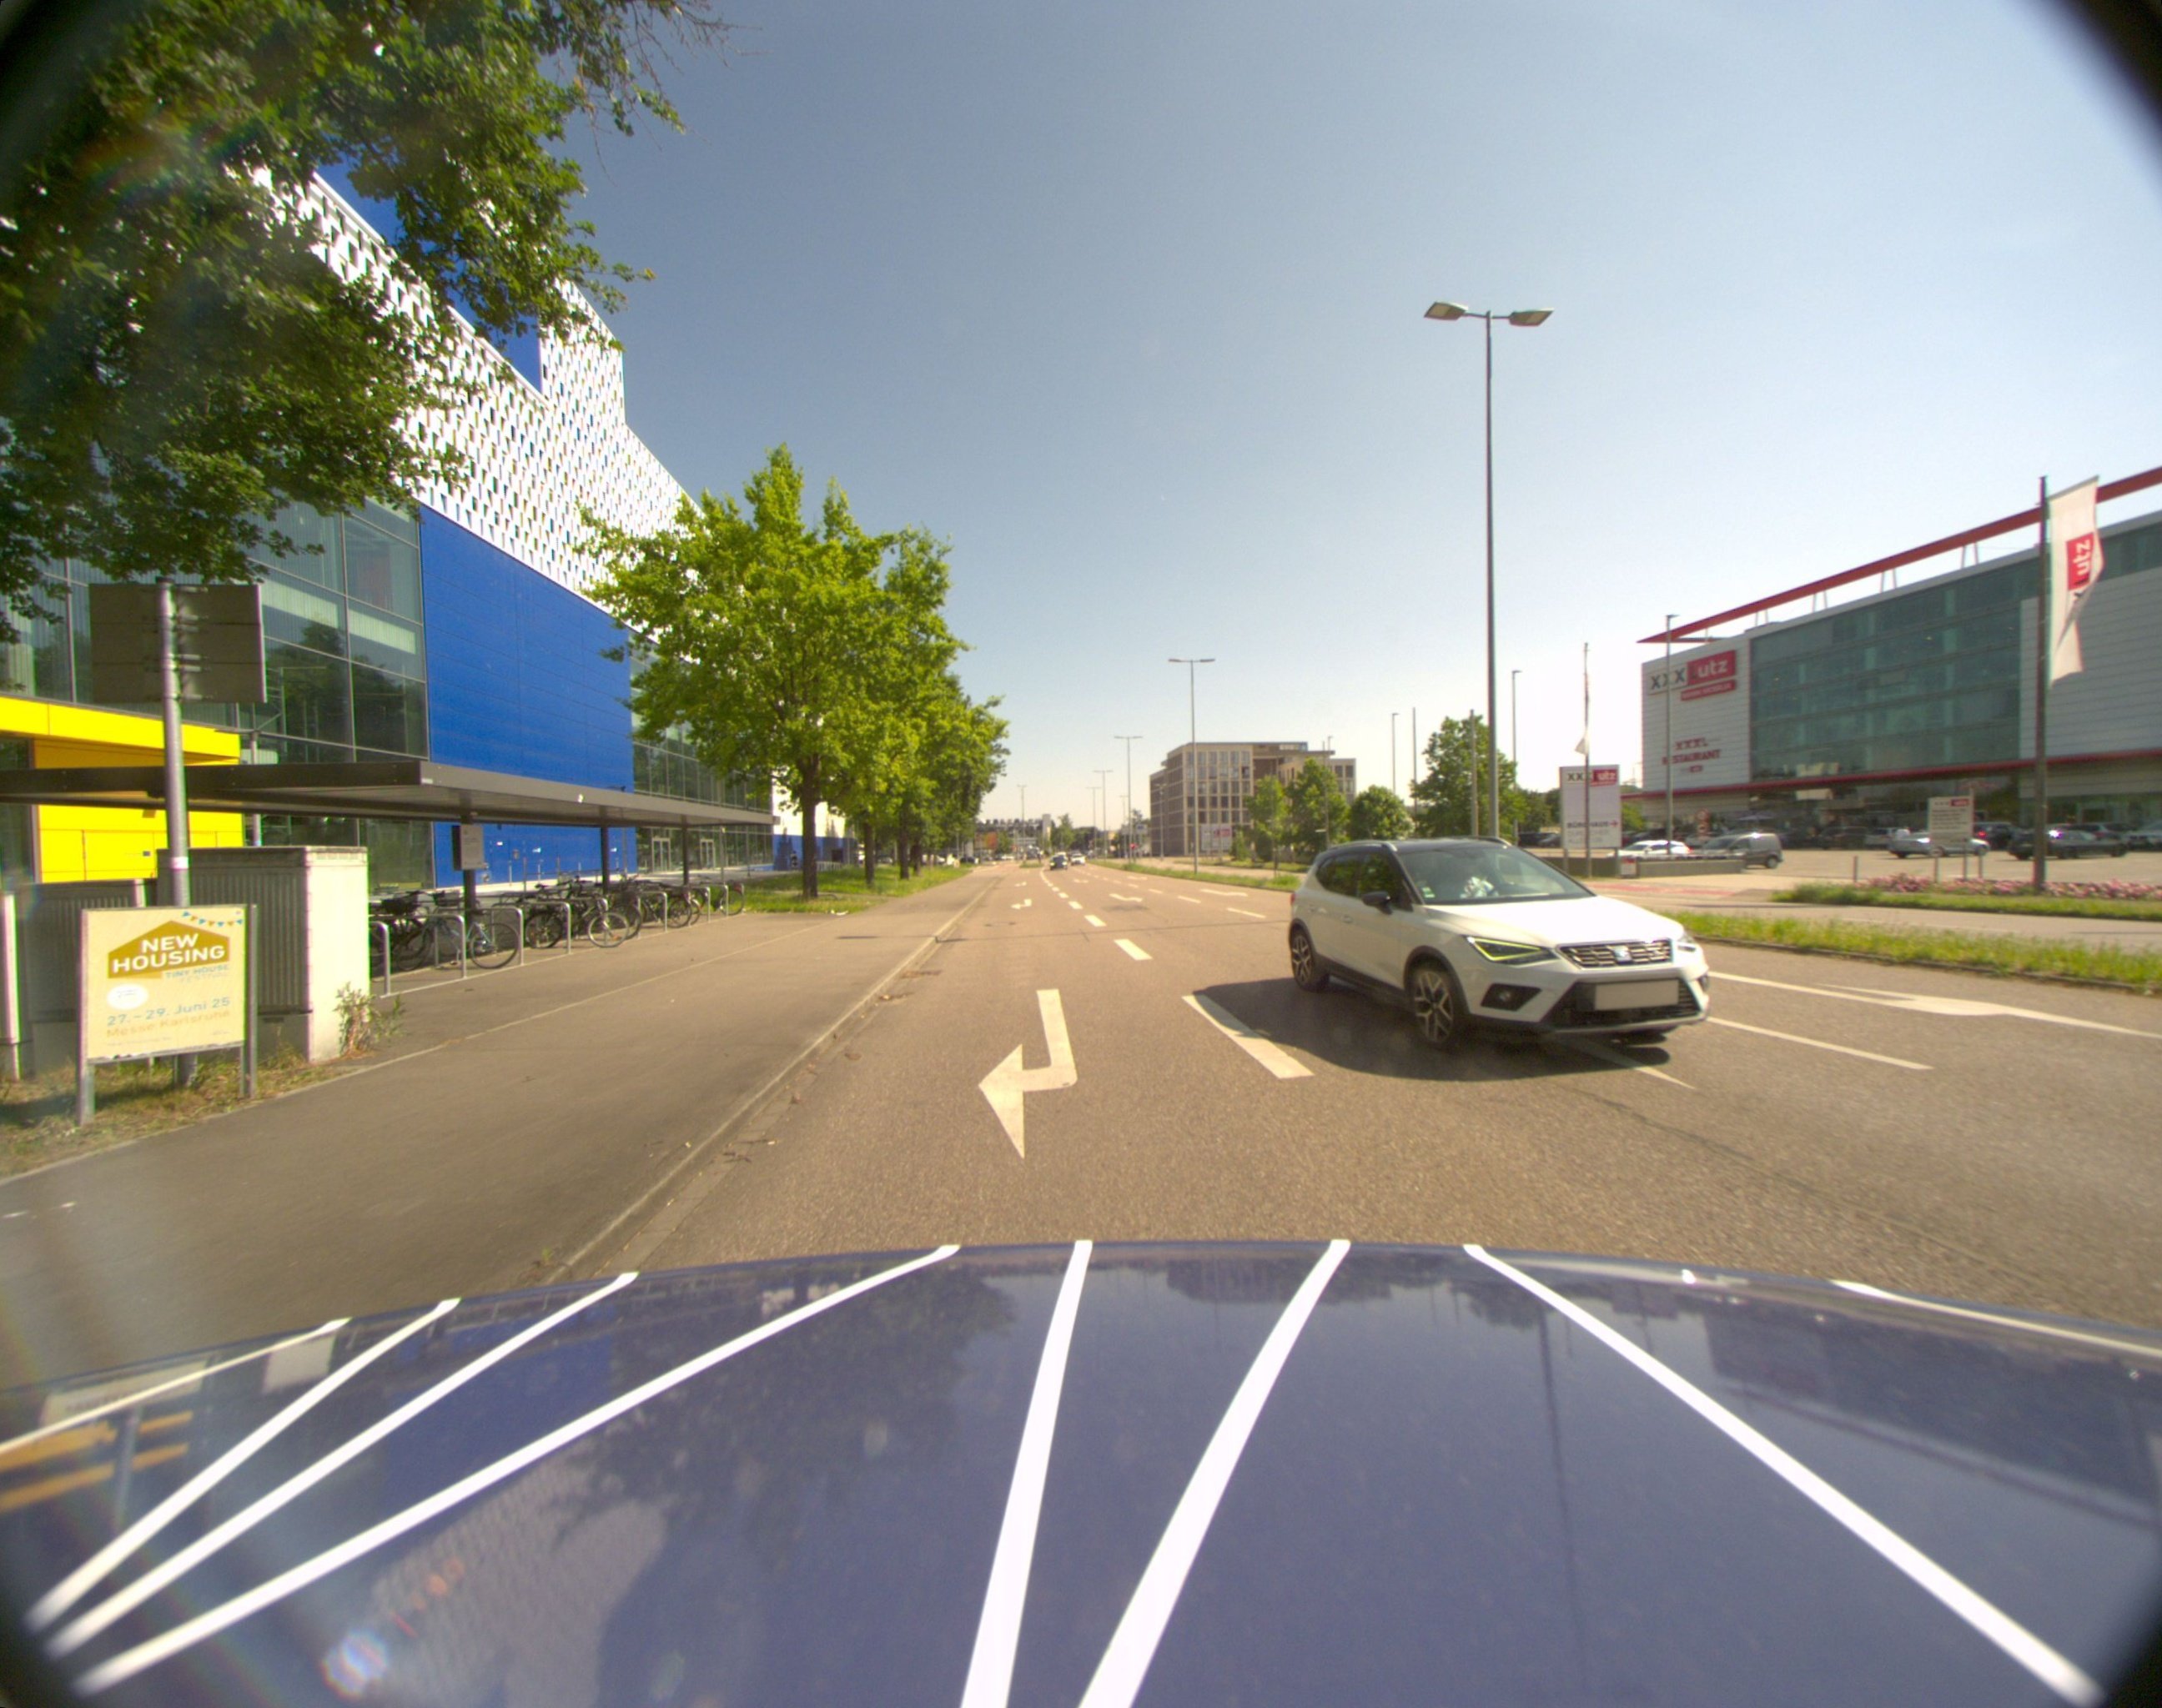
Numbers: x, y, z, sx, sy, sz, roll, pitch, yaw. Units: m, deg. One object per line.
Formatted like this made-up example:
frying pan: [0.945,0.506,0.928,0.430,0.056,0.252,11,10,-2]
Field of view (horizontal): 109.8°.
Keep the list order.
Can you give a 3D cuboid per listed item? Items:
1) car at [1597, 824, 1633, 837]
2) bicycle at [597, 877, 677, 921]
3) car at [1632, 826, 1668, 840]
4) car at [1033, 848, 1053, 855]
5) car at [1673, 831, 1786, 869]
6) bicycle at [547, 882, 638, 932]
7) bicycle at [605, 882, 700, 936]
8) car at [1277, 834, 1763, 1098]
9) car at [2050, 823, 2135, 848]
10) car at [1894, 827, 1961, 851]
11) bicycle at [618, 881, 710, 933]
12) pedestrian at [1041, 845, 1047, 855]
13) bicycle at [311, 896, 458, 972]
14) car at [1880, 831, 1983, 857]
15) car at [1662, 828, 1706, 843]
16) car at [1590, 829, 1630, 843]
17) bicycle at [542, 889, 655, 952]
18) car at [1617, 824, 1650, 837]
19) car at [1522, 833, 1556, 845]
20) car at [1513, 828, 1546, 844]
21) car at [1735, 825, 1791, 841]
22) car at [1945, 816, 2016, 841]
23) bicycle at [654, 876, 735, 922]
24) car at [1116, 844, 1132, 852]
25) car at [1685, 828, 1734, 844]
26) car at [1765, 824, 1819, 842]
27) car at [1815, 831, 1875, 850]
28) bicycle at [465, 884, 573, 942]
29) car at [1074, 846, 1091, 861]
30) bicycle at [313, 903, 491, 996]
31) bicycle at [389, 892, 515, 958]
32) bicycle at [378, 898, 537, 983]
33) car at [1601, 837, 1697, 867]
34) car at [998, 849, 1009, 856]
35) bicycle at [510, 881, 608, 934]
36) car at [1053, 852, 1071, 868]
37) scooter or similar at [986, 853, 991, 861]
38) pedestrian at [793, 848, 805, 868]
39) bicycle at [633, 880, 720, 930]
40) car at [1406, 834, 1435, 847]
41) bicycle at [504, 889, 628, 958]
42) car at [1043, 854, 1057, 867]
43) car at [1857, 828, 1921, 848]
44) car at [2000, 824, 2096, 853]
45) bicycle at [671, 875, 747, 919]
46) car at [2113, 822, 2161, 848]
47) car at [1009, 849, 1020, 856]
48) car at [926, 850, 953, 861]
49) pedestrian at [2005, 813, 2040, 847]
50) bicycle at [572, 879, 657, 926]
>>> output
car: [61.010,-2.704,86.800,3.096,1.377,1.514,-2,2,-5]
bicycle: [-11.730,1.186,20.100,1.763,1.090,0.452,-1,1,-4]
car: [60.741,-2.256,81.120,3.096,1.322,1.218,-2,2,-5]
car: [-8.685,-0.539,173.726,4.480,1.578,1.979,-2,1,-3]
car: [33.872,-0.209,39.749,4.425,1.832,1.944,-2,2,-5]
bicycle: [-11.508,1.248,17.924,1.763,1.090,0.452,-1,1,-4]
bicycle: [-9.336,1.196,16.593,1.763,1.090,0.452,-1,1,-4]
car: [3.150,0.716,6.492,1.635,1.489,3.869,-3,-1,-5]
car: [58.247,-1.085,43.773,3.096,1.322,1.514,-2,2,-5]
car: [52.377,-0.935,47.056,2.875,1.322,1.313,-2,2,-5]
bicycle: [-9.373,1.189,17.109,1.763,1.090,0.452,-1,1,-4]
pedestrian: [-6.721,-0.738,137.274,0.705,1.770,0.961,-1,1,20]
bicycle: [-10.891,1.238,11.906,1.763,1.090,0.452,-1,1,-4]
car: [48.184,-0.566,43.096,4.502,1.322,1.514,-2,2,-5]
car: [56.902,-1.739,71.687,3.096,1.322,1.514,-2,2,-5]
car: [56.185,-1.918,80.696,3.223,1.322,1.514,-2,2,-5]
bicycle: [-9.055,1.235,14.297,1.763,1.090,0.452,-1,1,-4]
car: [60.868,-2.588,83.669,2.822,1.322,1.295,-2,2,-5]
car: [52.861,-1.713,87.656,3.096,1.322,1.514,-2,2,-5]
car: [54.942,-2.208,93.105,3.096,1.748,1.691,-2,2,-5]
car: [56.748,-1.768,63.226,3.509,1.192,1.479,-2,2,-5]
car: [64.123,-1.824,54.174,3.572,1.621,1.661,-2,1,-9]
bicycle: [-9.805,1.140,19.323,1.763,1.090,0.463,-1,1,-4]
car: [11.589,-1.647,204.782,3.992,2.002,2.002,-1,1,16]
car: [56.719,-1.591,68.605,3.096,1.322,1.702,-2,2,-5]
car: [57.198,-1.708,61.135,3.096,1.322,1.514,-2,2,-5]
car: [56.971,-1.042,56.694,3.096,1.286,1.514,-2,2,-5]
bicycle: [-11.412,1.196,15.460,1.763,1.090,0.452,-1,1,-4]
car: [0.138,-0.109,105.979,2.026,1.827,4.309,-2,2,-4]
bicycle: [-8.691,1.208,9.763,1.763,1.090,0.452,-1,1,-4]
bicycle: [-11.185,1.251,13.539,1.763,1.090,0.452,-1,1,-4]
bicycle: [-8.799,1.208,10.758,1.763,1.090,0.452,-1,1,-4]
car: [33.407,-0.126,44.769,4.426,1.618,1.870,-2,1,-6]
car: [-17.283,-0.247,169.799,1.998,1.452,4.000,-2,1,1]
bicycle: [-11.466,1.168,16.727,1.763,1.090,0.452,-1,1,-4]
car: [-2.026,0.578,80.868,1.771,1.456,4.237,-3,2,-1]
scooter or similar: [-14.495,0.512,119.182,0.402,1.160,1.185,-1,2,13]
pedestrian: [-22.083,0.307,59.569,0.690,1.602,0.771,-1,1,-8]
bicycle: [-9.586,1.199,18.024,1.763,1.090,0.452,-1,1,-4]
car: [43.538,-1.774,97.464,2.775,1.547,1.773,-1,0,-5]
bicycle: [-8.911,1.194,13.177,1.763,1.090,0.452,-1,1,-4]
car: [-4.705,0.946,115.168,1.834,1.703,3.763,-2,2,-5]
car: [57.728,-1.167,54.310,3.096,1.322,1.514,-2,2,-5]
car: [48.223,-0.763,37.928,3.096,1.322,1.514,-2,2,-5]
bicycle: [-9.894,1.136,20.234,1.763,1.090,0.452,-1,1,-4]
car: [58.622,-1.071,41.253,3.414,1.322,1.588,-2,1,-6]
car: [-14.849,-0.348,170.152,1.887,1.452,3.999,-2,2,1]
car: [-27.283,0.274,146.411,4.999,1.996,1.739,-2,2,-6]
pedestrian: [56.748,-1.461,45.823,0.863,2.002,1.023,-1,1,10]
bicycle: [-11.666,1.208,19.038,1.763,1.090,0.452,-1,1,-4]
